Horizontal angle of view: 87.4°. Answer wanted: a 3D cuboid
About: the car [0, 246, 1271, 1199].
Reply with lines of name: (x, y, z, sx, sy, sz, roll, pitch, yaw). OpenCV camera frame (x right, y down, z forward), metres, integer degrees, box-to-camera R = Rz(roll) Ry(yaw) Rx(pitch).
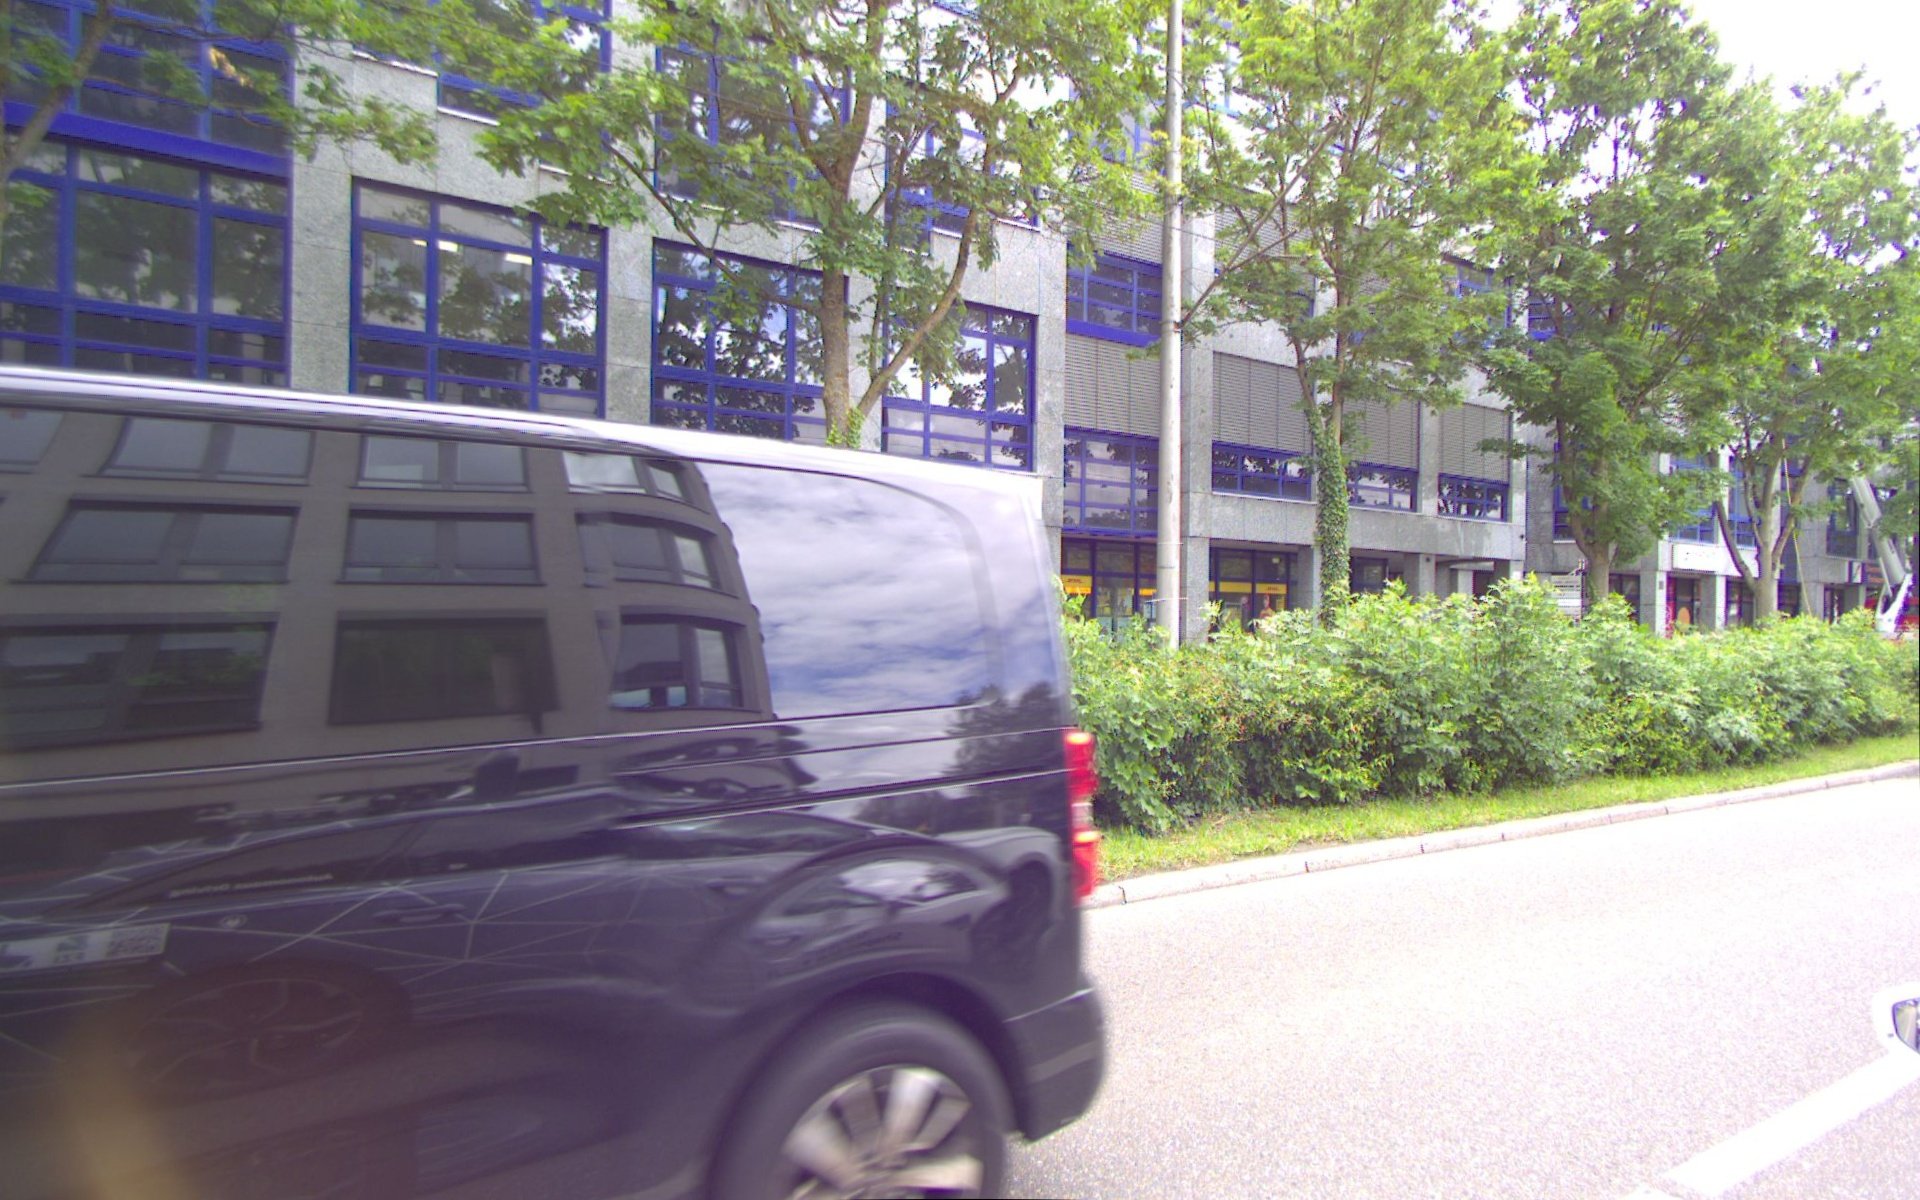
car: (-1.720, 0.547, 2.198, 4.681, 1.973, 1.984, 2, -2, -31)

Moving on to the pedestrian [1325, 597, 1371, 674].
pedestrian: (9.796, 0.892, 25.359, 0.723, 1.919, 0.771, 2, 0, -30)
